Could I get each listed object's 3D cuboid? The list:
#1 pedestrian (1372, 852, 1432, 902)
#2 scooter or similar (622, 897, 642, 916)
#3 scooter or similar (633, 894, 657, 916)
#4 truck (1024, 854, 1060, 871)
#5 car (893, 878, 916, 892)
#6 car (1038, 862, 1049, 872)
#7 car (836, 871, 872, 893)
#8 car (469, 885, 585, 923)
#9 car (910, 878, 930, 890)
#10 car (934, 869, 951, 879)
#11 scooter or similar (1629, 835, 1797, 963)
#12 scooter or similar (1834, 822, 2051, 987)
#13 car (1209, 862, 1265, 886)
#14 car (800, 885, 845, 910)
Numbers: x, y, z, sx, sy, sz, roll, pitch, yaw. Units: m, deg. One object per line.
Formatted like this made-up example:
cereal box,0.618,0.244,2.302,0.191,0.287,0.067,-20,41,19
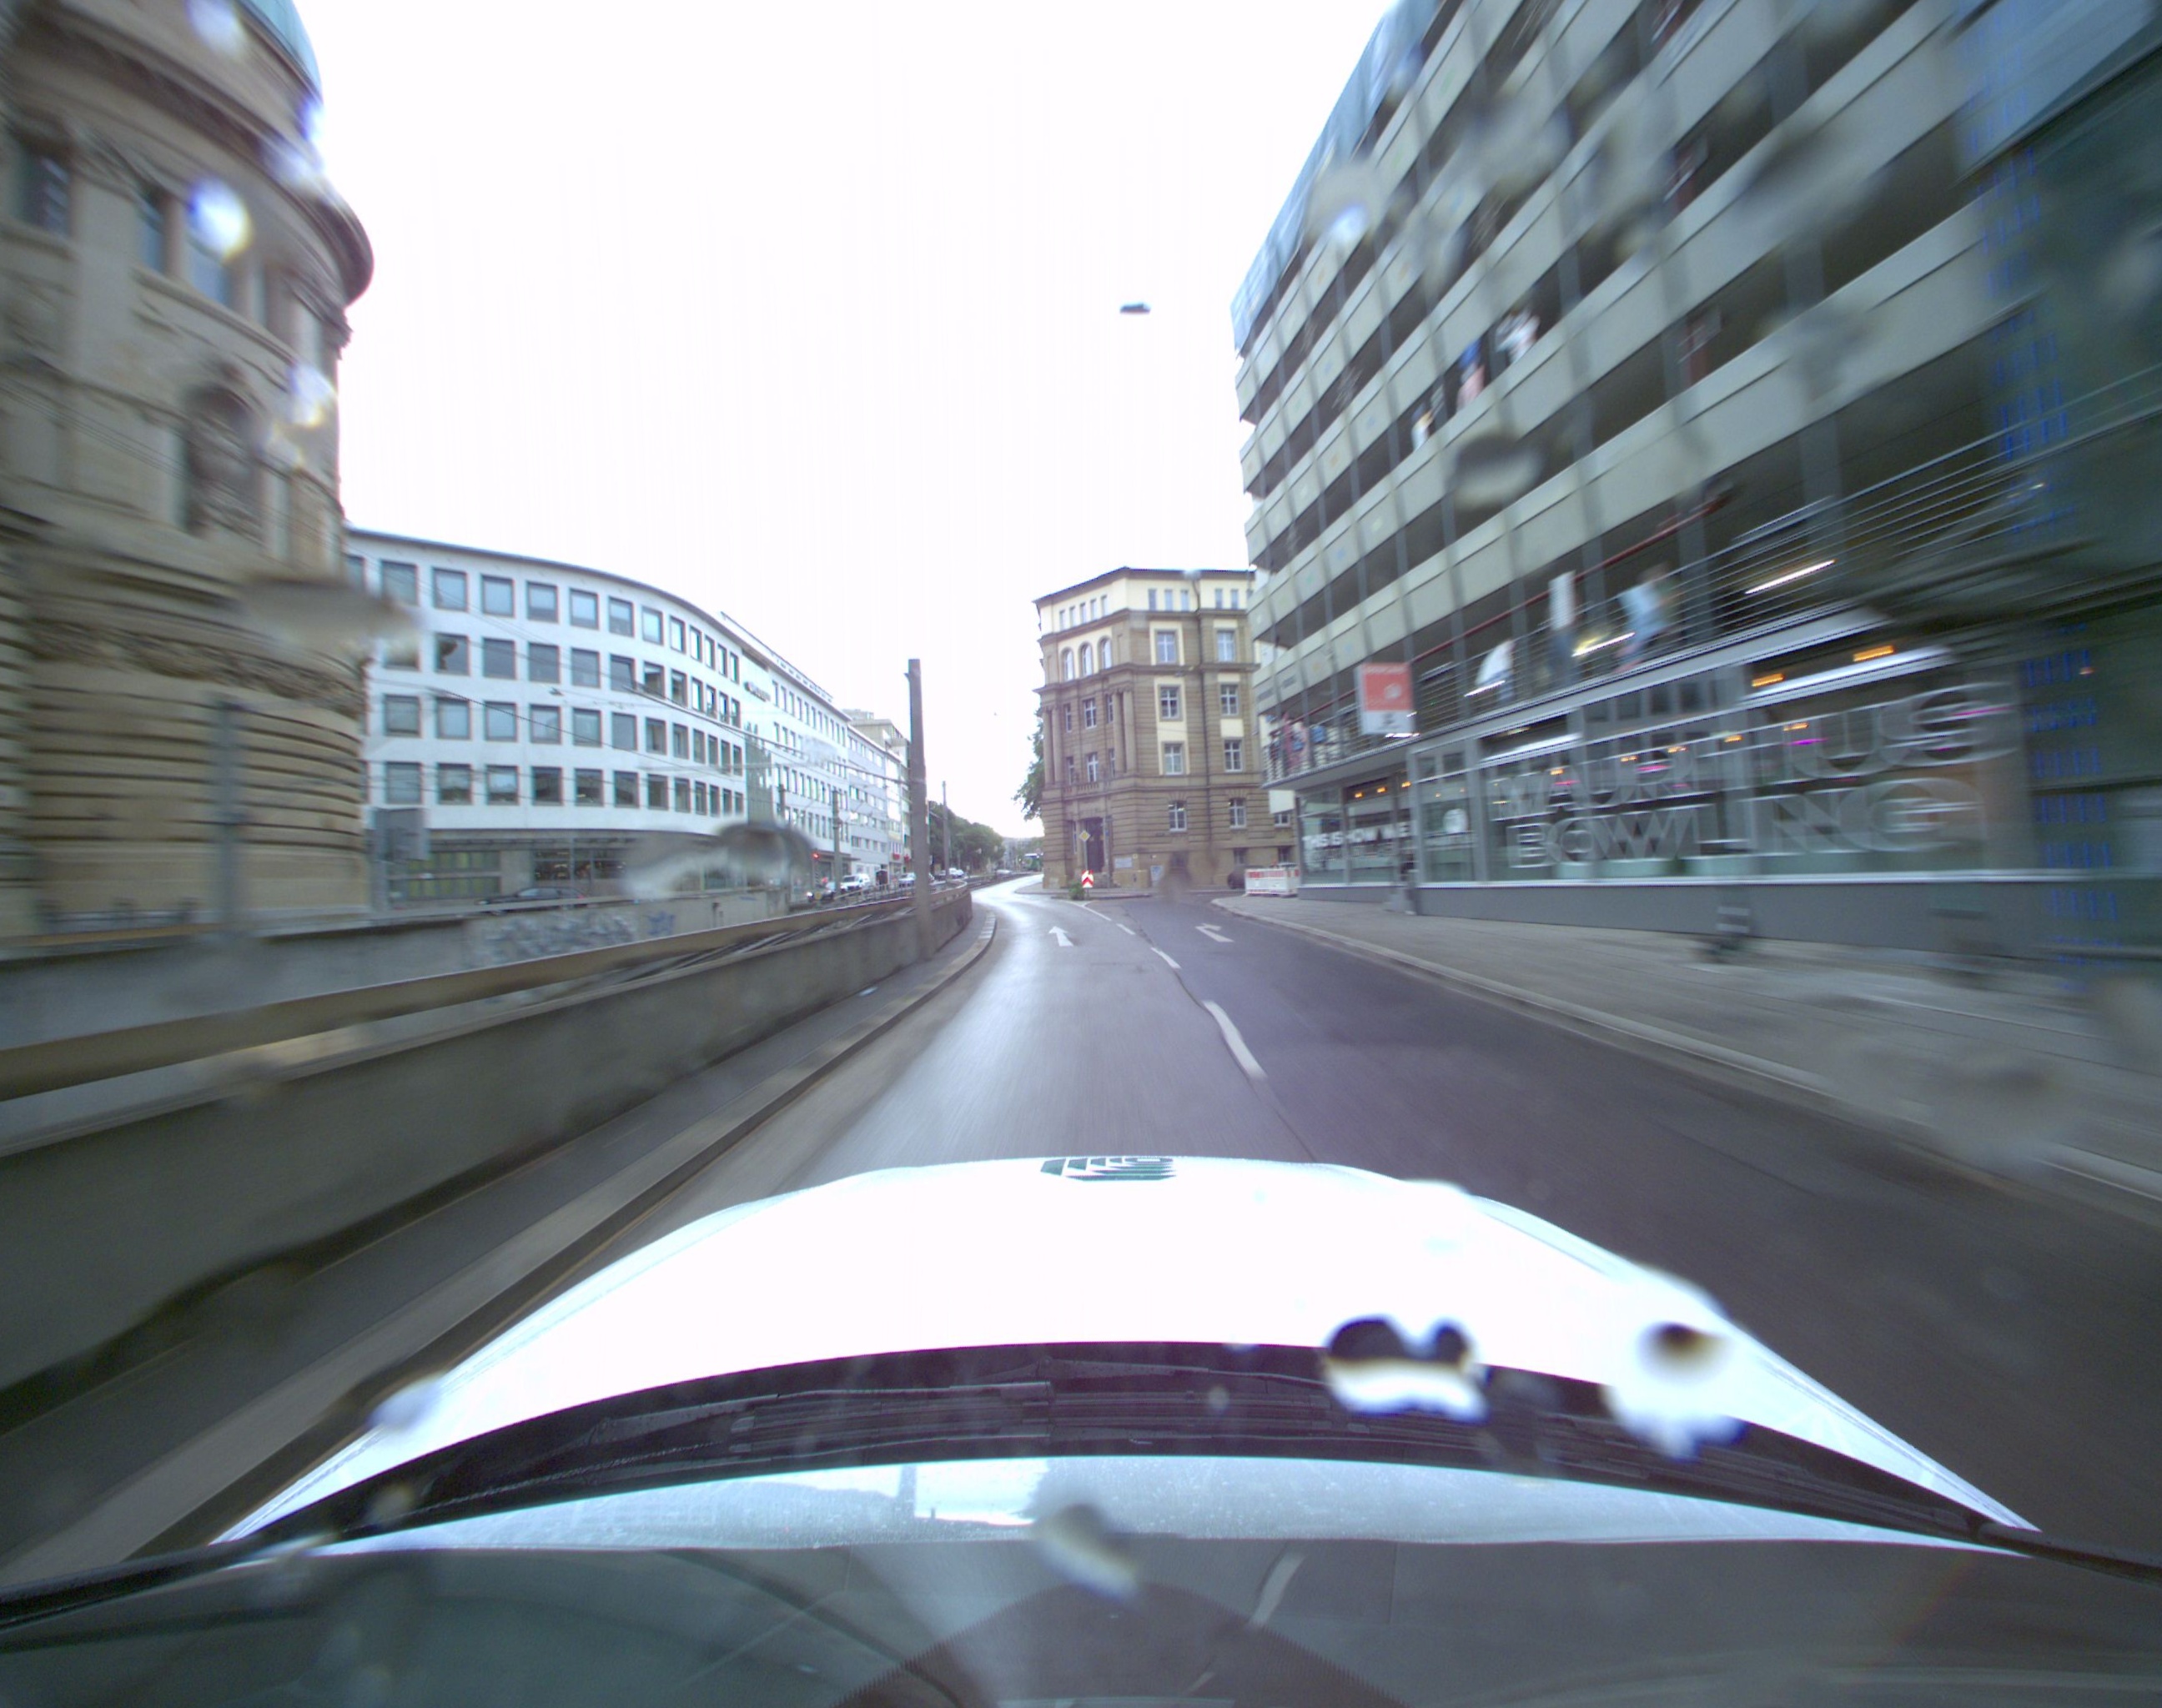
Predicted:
pedestrian,7.654,0.541,19.480,0.753,1.123,1.242,-2,-1,-11
scooter or similar,-25.580,2.981,46.405,0.815,1.044,0.550,-2,-1,13
scooter or similar,-24.724,2.899,46.196,0.542,1.178,1.191,-2,-1,13
truck,-8.365,1.819,173.004,7.827,3.387,2.012,-1,-1,29
car,-20.861,3.674,96.386,1.989,1.456,4.307,-2,-1,-2
car,-7.041,2.439,153.597,1.988,1.662,3.996,-2,-1,-2
car,-20.517,2.491,73.685,1.989,1.883,4.922,-2,-1,-2
car,-28.492,2.563,41.962,4.804,1.522,1.656,-4,-2,-38
car,-21.463,4.039,108.685,1.989,1.456,4.307,-2,-1,-2
car,-21.326,3.019,125.209,1.989,1.456,4.307,-2,-1,-2
scooter or similar,7.222,0.484,9.315,1.642,1.268,0.737,-4,-1,-22
scooter or similar,7.724,0.413,7.305,1.642,1.268,0.737,-4,-1,-22
car,9.729,1.259,51.258,1.735,1.367,4.983,-2,-1,-11
car,-17.766,2.939,56.082,1.989,1.528,3.659,-2,-1,-2
